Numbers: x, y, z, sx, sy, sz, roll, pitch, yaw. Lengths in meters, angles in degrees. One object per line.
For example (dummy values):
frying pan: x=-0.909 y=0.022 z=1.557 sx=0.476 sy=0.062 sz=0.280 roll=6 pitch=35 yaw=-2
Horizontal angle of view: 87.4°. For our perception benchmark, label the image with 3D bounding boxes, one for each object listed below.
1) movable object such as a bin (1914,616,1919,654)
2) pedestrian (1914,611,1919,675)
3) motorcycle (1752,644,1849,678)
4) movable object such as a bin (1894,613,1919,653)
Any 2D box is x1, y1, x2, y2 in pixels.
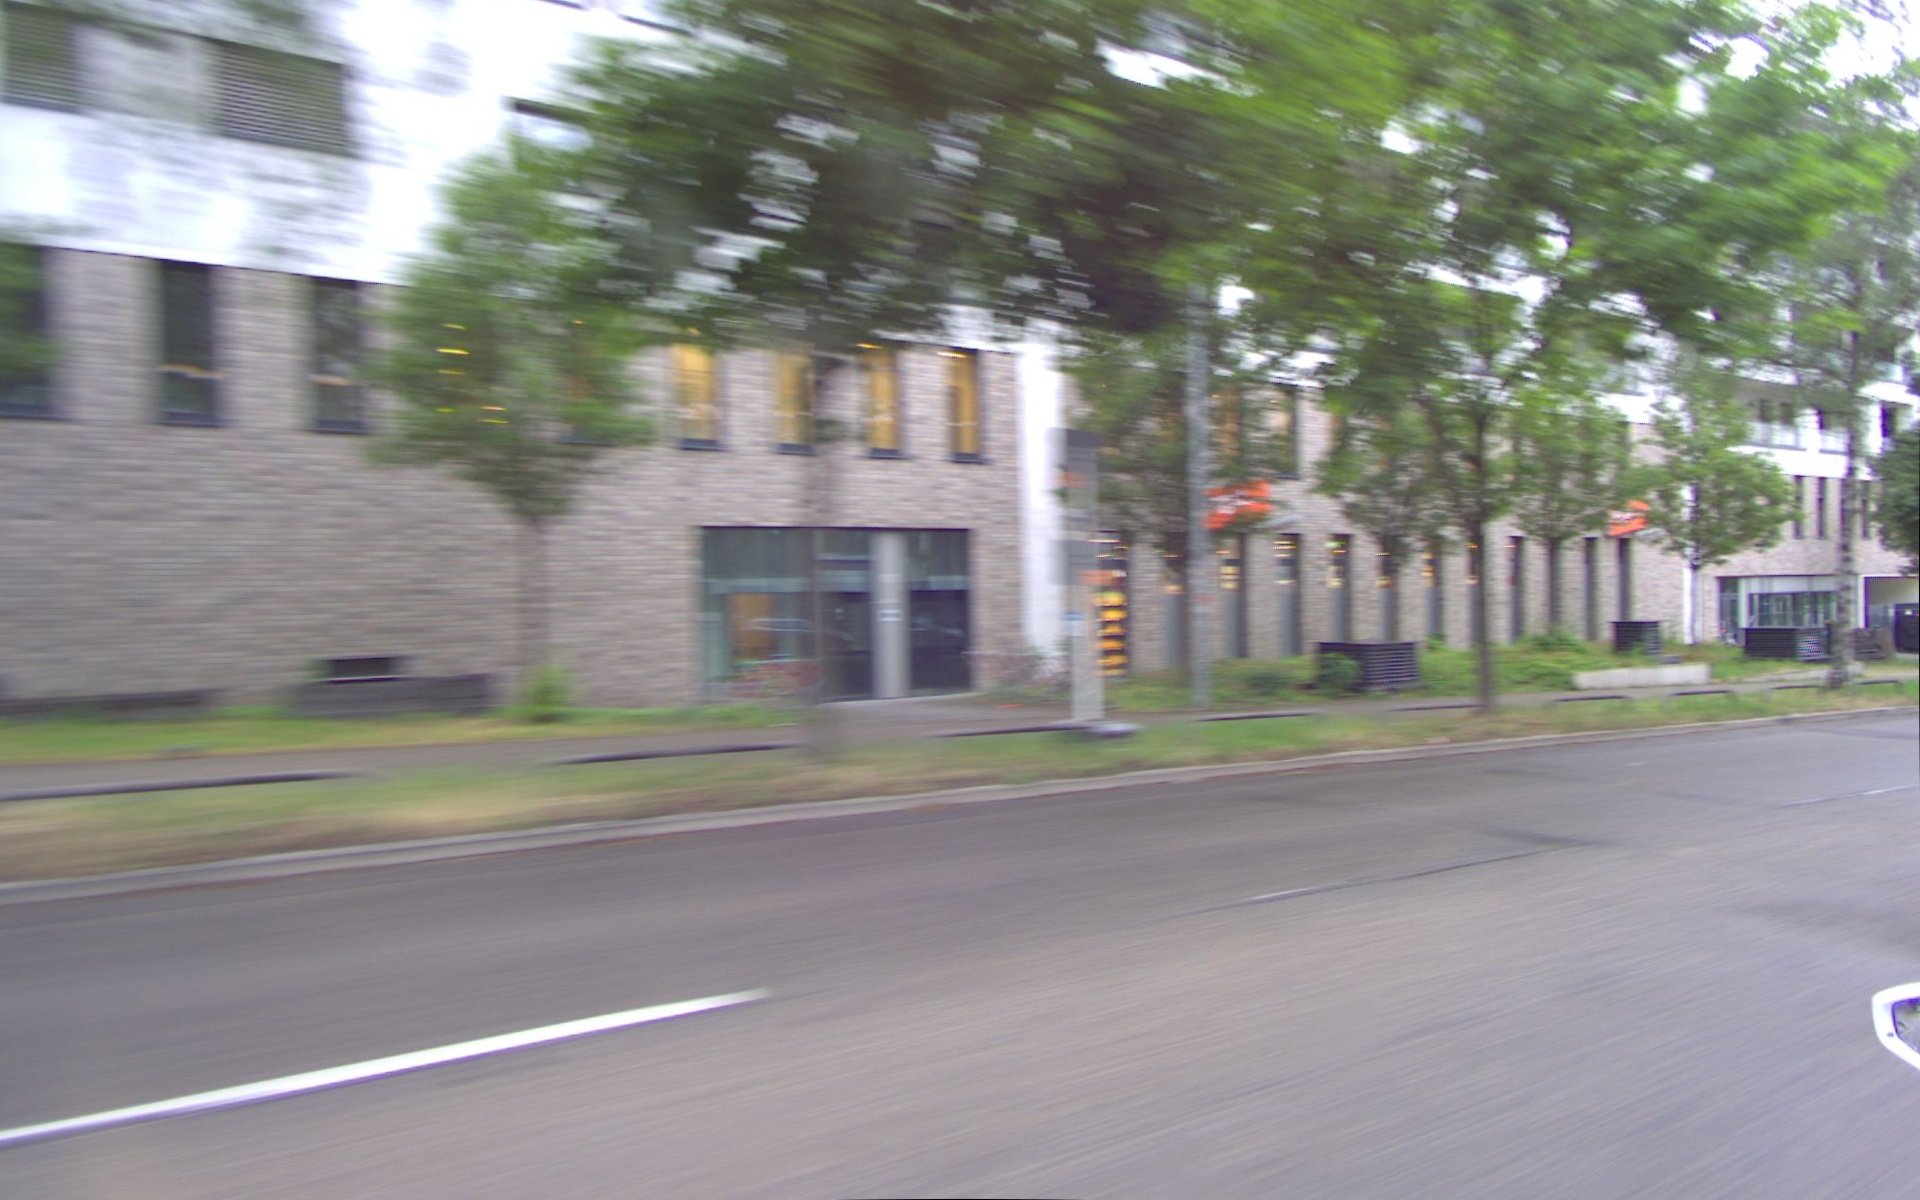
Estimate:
movable object such as a bin: x=37.735 y=1.382 z=38.025 sx=1.302 sy=1.442 sz=2.043 roll=2 pitch=0 yaw=-31
pedestrian: x=26.331 y=1.167 z=27.050 sx=0.946 sy=1.705 sz=0.704 roll=1 pitch=0 yaw=-33
motorcycle: x=22.373 y=1.611 z=26.780 sx=0.705 sy=0.818 sz=2.006 roll=1 pitch=-1 yaw=-10
movable object such as a bin: x=36.425 y=1.267 z=37.479 sx=1.275 sy=1.449 sz=2.016 roll=2 pitch=1 yaw=-31
